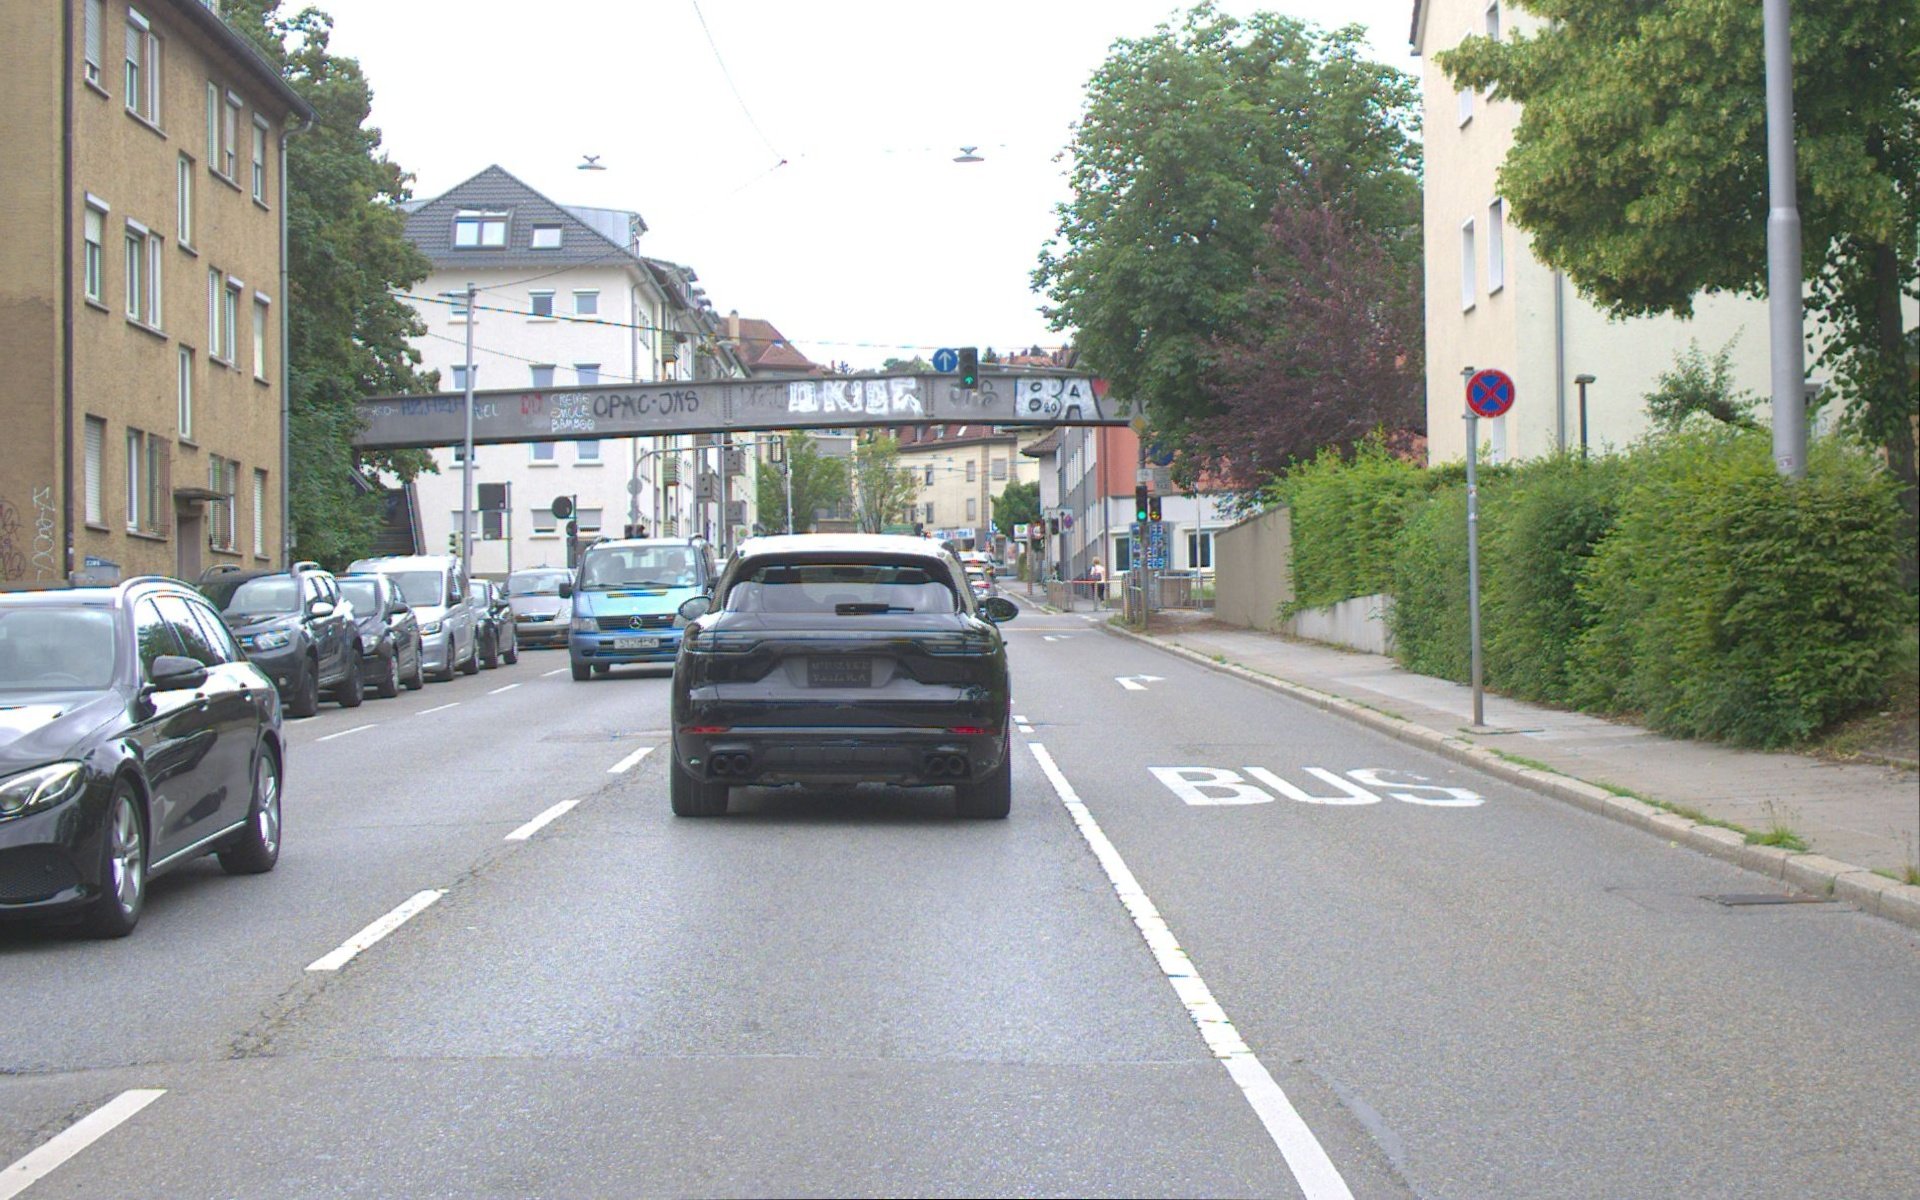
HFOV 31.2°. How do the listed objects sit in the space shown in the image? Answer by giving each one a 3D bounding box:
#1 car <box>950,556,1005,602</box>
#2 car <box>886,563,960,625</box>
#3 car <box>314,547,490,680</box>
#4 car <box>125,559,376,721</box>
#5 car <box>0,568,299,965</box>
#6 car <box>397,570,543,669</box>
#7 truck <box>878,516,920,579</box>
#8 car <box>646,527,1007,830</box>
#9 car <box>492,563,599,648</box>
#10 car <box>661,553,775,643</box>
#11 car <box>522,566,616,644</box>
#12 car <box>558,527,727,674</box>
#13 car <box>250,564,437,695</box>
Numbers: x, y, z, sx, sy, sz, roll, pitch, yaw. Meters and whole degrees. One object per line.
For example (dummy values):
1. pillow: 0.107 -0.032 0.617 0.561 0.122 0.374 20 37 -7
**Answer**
1. car: 0.559 -0.702 112.236 1.741 1.395 4.000 0 1 0
2. car: -0.883 -0.164 83.691 1.741 1.395 4.000 0 1 0
3. car: -7.917 0.152 49.144 1.776 1.748 4.558 -2 1 -1
4. car: -7.826 0.394 38.291 1.783 1.603 4.264 -3 1 1
5. car: -4.259 0.628 15.204 1.778 1.461 4.499 -1 1 0
6. car: -7.734 0.277 54.574 1.745 1.434 3.913 -2 1 -1
7. truck: -3.397 -2.915 192.139 2.266 3.412 9.879 -1 1 -1
8. car: -0.746 0.394 21.062 1.993 1.656 4.000 0 1 0
9. car: -8.183 0.084 68.074 1.745 1.563 3.908 -2 1 -2
10. car: -4.482 -0.063 64.235 1.840 1.585 4.164 -2 1 -1
11. car: -8.261 0.084 72.942 1.533 1.535 3.982 -2 1 -1
12. car: -4.328 -0.030 47.456 1.931 1.894 4.590 -1 1 -1
13. car: -7.801 0.339 43.800 1.751 1.525 4.100 -2 1 -2
